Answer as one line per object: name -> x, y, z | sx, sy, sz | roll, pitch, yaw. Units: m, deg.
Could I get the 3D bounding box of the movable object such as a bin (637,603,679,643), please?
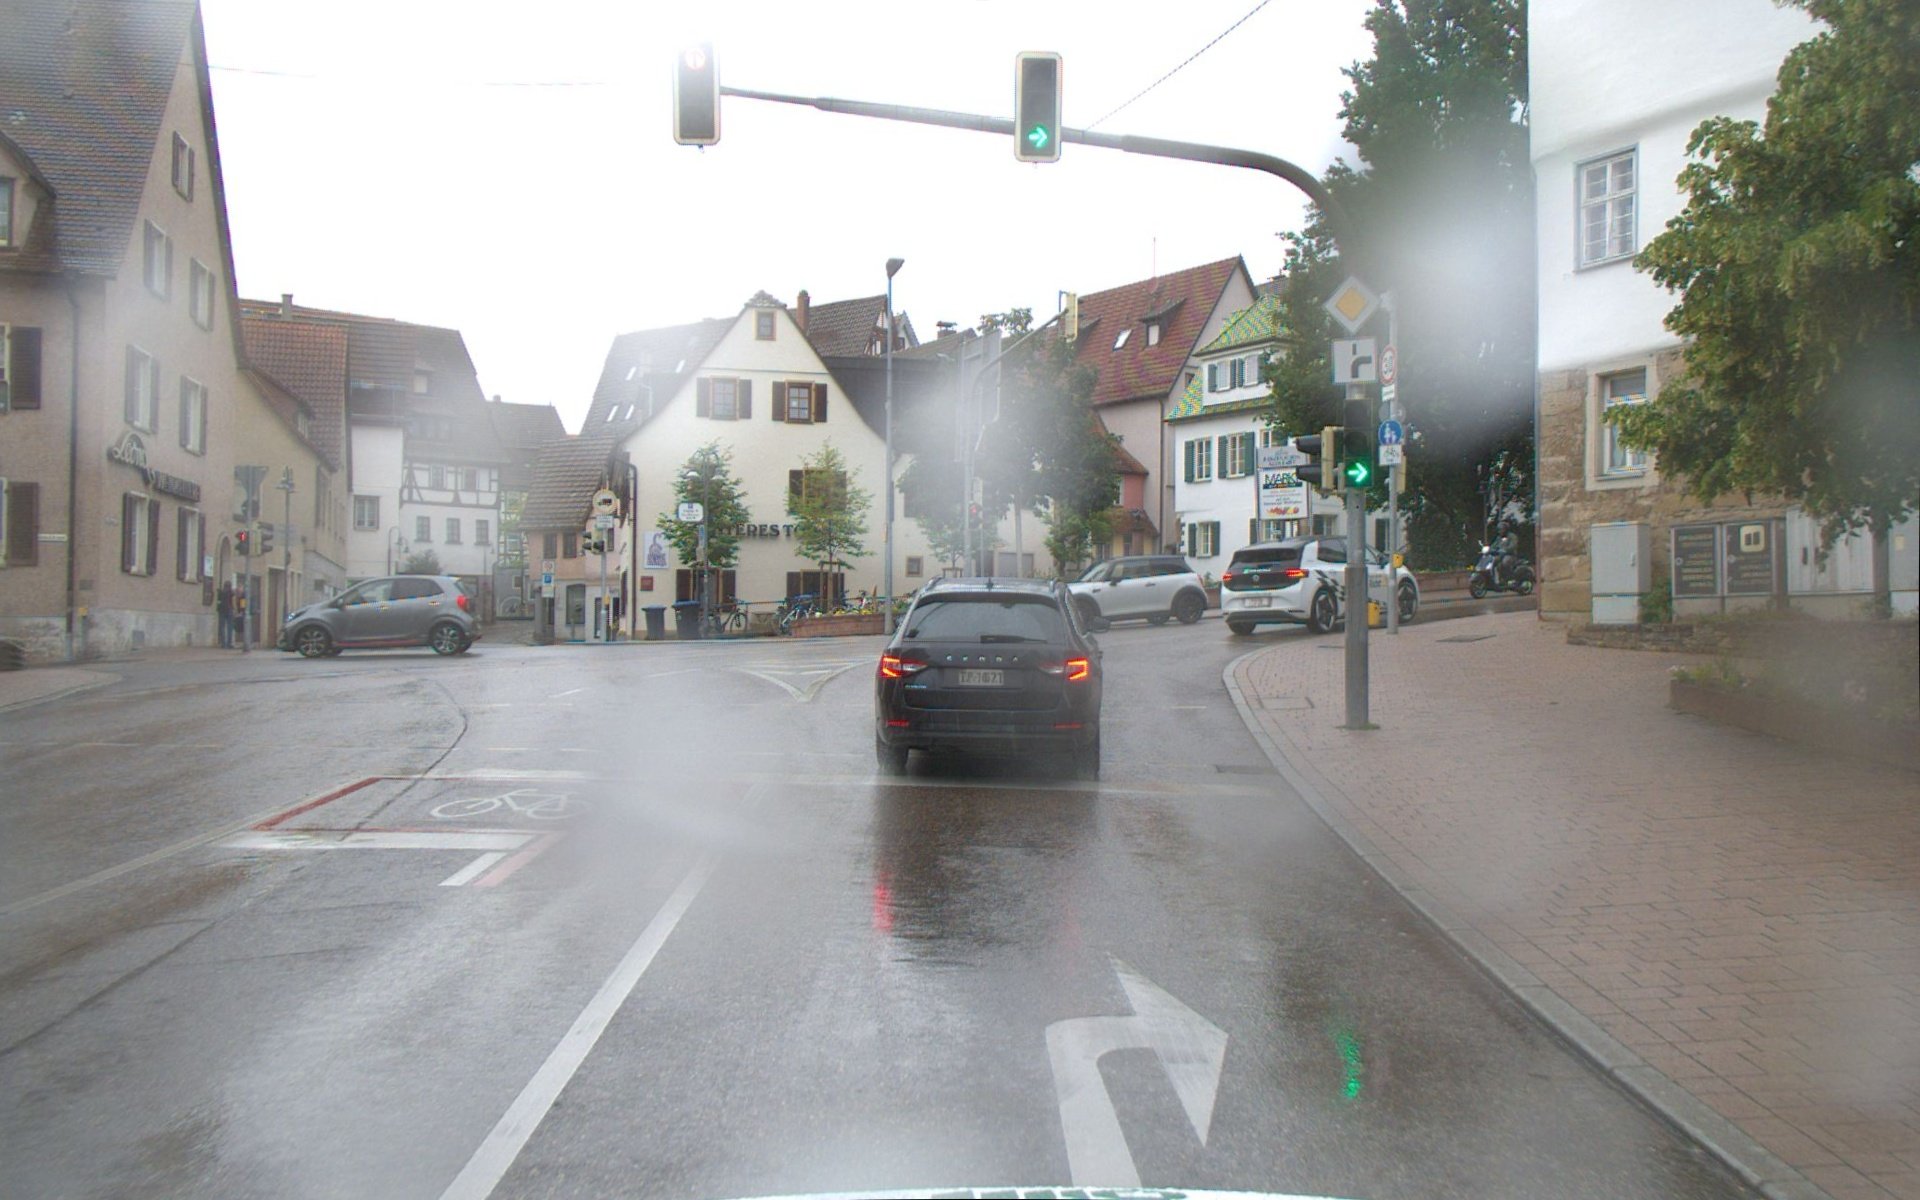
movable object such as a bin -> -7.921, 0.600, 43.344 | 0.709, 0.942, 0.788 | -3, 2, 22

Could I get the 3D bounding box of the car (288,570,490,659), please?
car -> -10.629, 0.245, 30.971 | 3.318, 1.502, 1.532 | -2, 1, -10

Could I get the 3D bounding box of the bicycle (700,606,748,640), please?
bicycle -> -6.245, 0.598, 43.813 | 0.331, 0.832, 1.432 | 3, 3, 36

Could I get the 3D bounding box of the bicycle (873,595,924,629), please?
bicycle -> -1.752, 0.332, 46.886 | 1.451, 0.928, 0.388 | -1, 3, -33

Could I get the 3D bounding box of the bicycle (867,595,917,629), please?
bicycle -> -1.944, 0.342, 47.261 | 1.451, 0.928, 0.388 | -1, 3, -33

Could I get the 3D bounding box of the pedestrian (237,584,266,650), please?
pedestrian -> -18.914, 0.453, 44.144 | 0.543, 1.759, 0.537 | 0, -2, -6

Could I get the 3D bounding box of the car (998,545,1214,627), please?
car -> 2.975, -0.293, 33.952 | 3.926, 1.456, 1.990 | -3, 1, -18

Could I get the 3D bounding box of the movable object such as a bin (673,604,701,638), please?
movable object such as a bin -> -7.398, 0.562, 44.859 | 0.580, 0.917, 0.578 | 0, 0, -31

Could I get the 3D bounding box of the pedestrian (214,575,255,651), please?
pedestrian -> -18.535, 0.326, 42.264 | 0.788, 1.862, 0.707 | -4, 2, -31

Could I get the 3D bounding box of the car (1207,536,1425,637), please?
car -> 6.043, -0.257, 27.837 | 1.829, 1.498, 3.977 | -2, 1, 42

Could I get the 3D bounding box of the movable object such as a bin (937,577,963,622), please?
movable object such as a bin -> -0.299, -0.022, 48.433 | 0.670, 1.298, 0.747 | 1, 0, -7

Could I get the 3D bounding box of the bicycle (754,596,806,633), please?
bicycle -> -4.875, 0.401, 44.836 | 0.386, 0.928, 1.460 | -2, 1, 44

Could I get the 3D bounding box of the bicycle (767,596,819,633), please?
bicycle -> -4.490, 0.396, 44.603 | 0.386, 0.928, 1.460 | -2, 1, 44

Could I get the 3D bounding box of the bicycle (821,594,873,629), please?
bicycle -> -3.151, 0.309, 46.335 | 1.451, 0.928, 0.388 | -1, 3, -33

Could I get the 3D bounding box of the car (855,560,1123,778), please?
car -> 0.276, 0.452, 13.921 | 1.848, 1.473, 4.358 | -2, 1, 2
